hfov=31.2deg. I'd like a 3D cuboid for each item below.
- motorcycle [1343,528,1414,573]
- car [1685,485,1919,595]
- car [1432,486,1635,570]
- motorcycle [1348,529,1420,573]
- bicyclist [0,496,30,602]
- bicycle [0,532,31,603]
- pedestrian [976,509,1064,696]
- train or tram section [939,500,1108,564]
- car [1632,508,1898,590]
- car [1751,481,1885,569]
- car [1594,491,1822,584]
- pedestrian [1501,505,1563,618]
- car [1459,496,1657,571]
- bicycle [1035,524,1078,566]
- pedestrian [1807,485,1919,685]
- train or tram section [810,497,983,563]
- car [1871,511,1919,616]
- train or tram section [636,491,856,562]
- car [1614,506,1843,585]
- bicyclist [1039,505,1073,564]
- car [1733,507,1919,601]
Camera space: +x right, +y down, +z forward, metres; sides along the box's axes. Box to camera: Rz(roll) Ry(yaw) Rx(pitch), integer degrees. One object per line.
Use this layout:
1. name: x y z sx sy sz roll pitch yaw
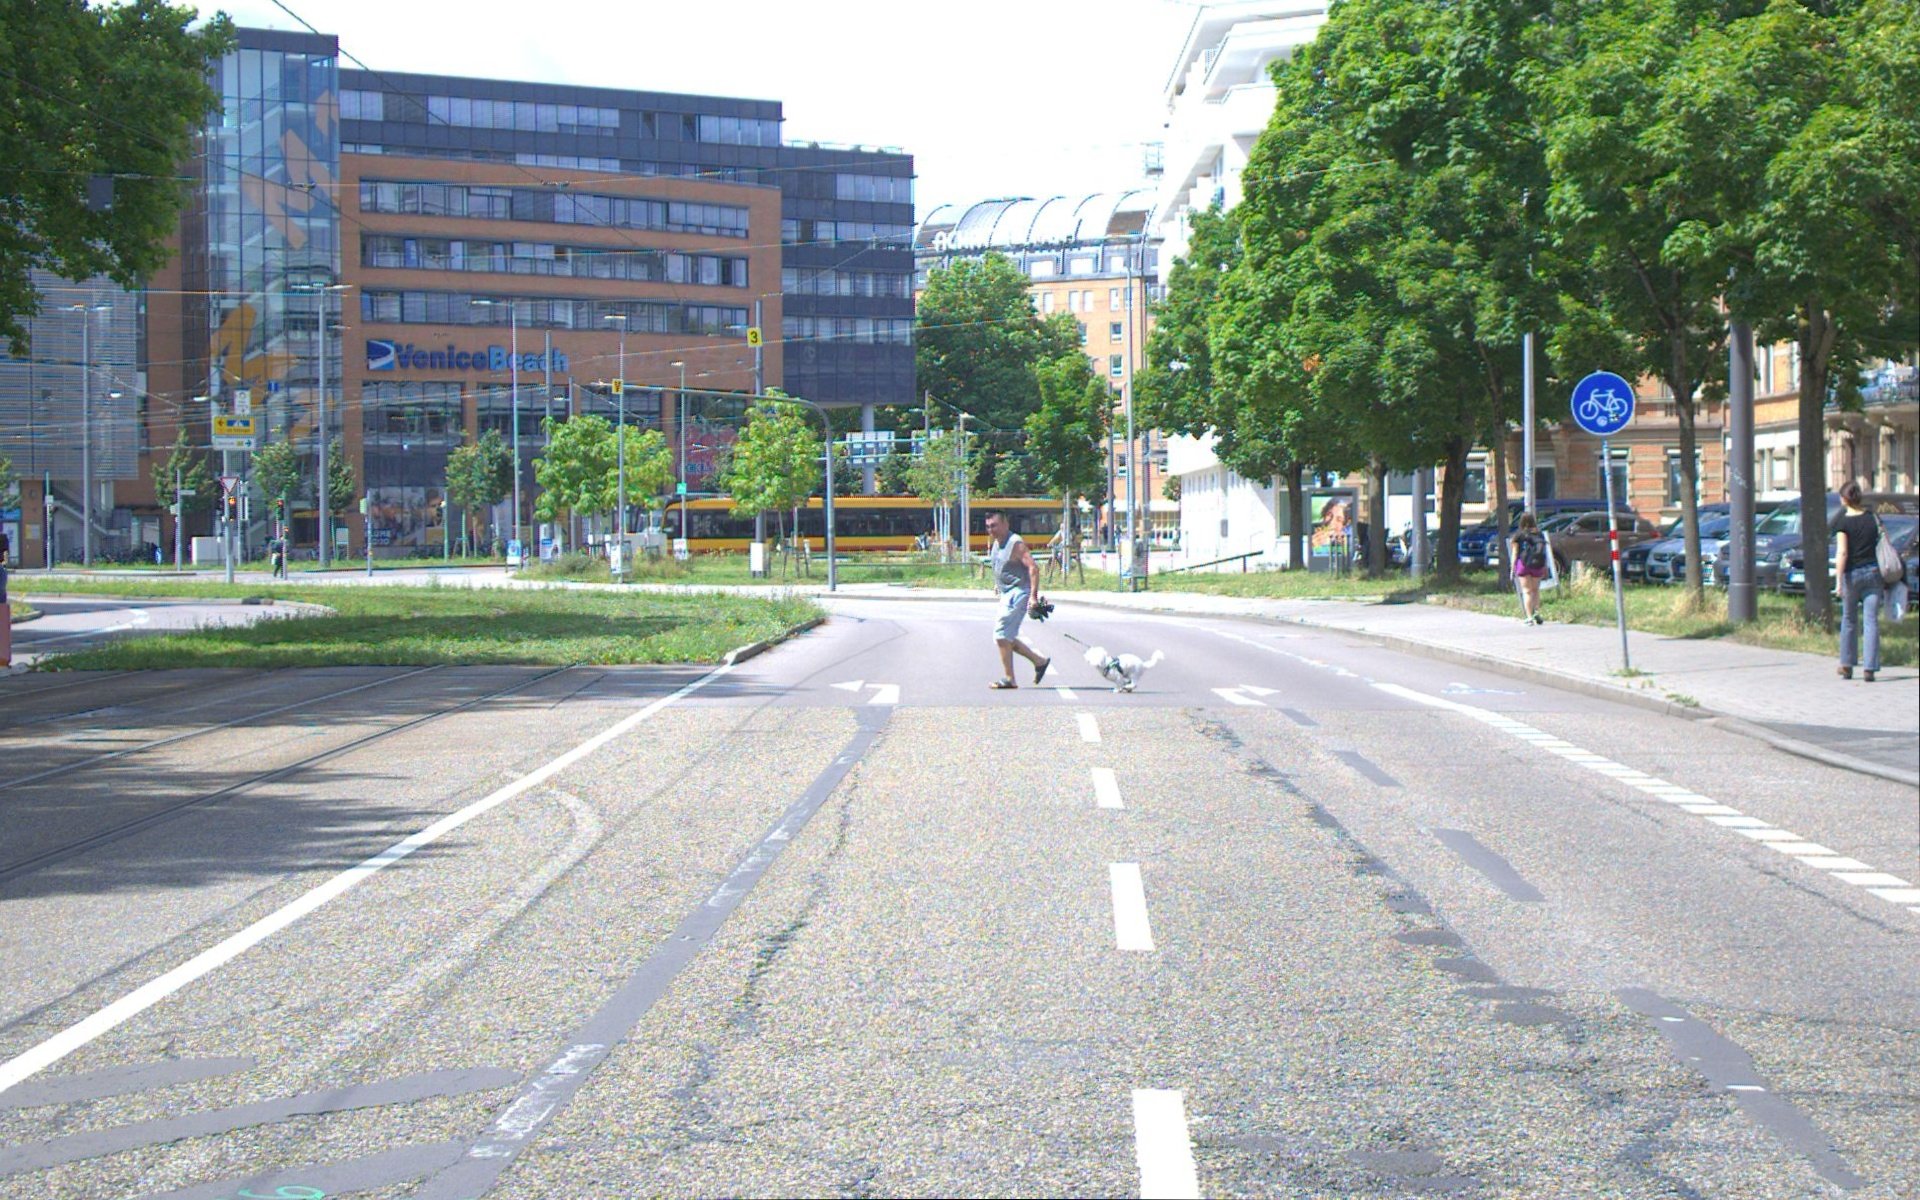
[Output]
1. motorcycle: 11.085 -1.315 91.046 1.783 1.163 0.640 0 1 -1
2. car: 14.143 -0.974 56.622 4.352 1.735 1.852 0 1 -36
3. car: 13.744 -1.723 82.389 4.614 1.921 1.917 0 1 -31
4. motorcycle: 11.100 -1.282 90.013 1.783 1.163 0.640 0 1 -1
5. bicyclist: -15.429 -0.832 55.507 0.761 1.698 0.784 1 1 -17
6. bicycle: -15.422 -0.534 55.442 0.790 1.106 2.277 1 1 -16
7. pedestrian: 0.562 0.017 31.878 0.781 1.698 0.702 1 1 2
8. train or tram section: 3.837 -3.986 202.426 3.062 3.608 12.608 2 1 37
9. car: 14.175 -0.885 60.432 4.678 1.375 1.852 0 1 -34
10. car: 22.163 -1.935 89.041 2.111 2.171 5.394 1 1 0
11. car: 14.532 -1.202 66.788 4.136 1.735 1.852 0 1 -30
12. pedestrian: 8.131 -0.550 48.900 0.700 1.586 0.905 1 1 -1
13. car: 13.812 -1.533 79.425 4.160 1.650 1.917 0 1 -26
14. bicycle: 3.074 -1.738 109.005 0.694 1.238 1.837 -2 3 23
15. pedestrian: 7.880 -0.138 29.945 0.700 1.698 1.045 1 1 -1
16. train or tram section: -3.495 -3.901 193.241 3.063 3.591 10.966 2 1 42
17. car: 14.418 -0.468 46.319 4.256 1.375 1.852 0 1 -36
18. train or tram section: -11.332 -3.910 184.023 3.224 3.587 13.468 2 1 41
19. car: 14.256 -1.009 63.722 4.072 1.401 1.852 0 1 -35
20. bicyclist: 3.045 -2.072 109.033 0.695 1.818 0.955 -2 3 24
21. car: 13.997 -0.695 52.605 4.256 1.375 1.852 0 1 -36
